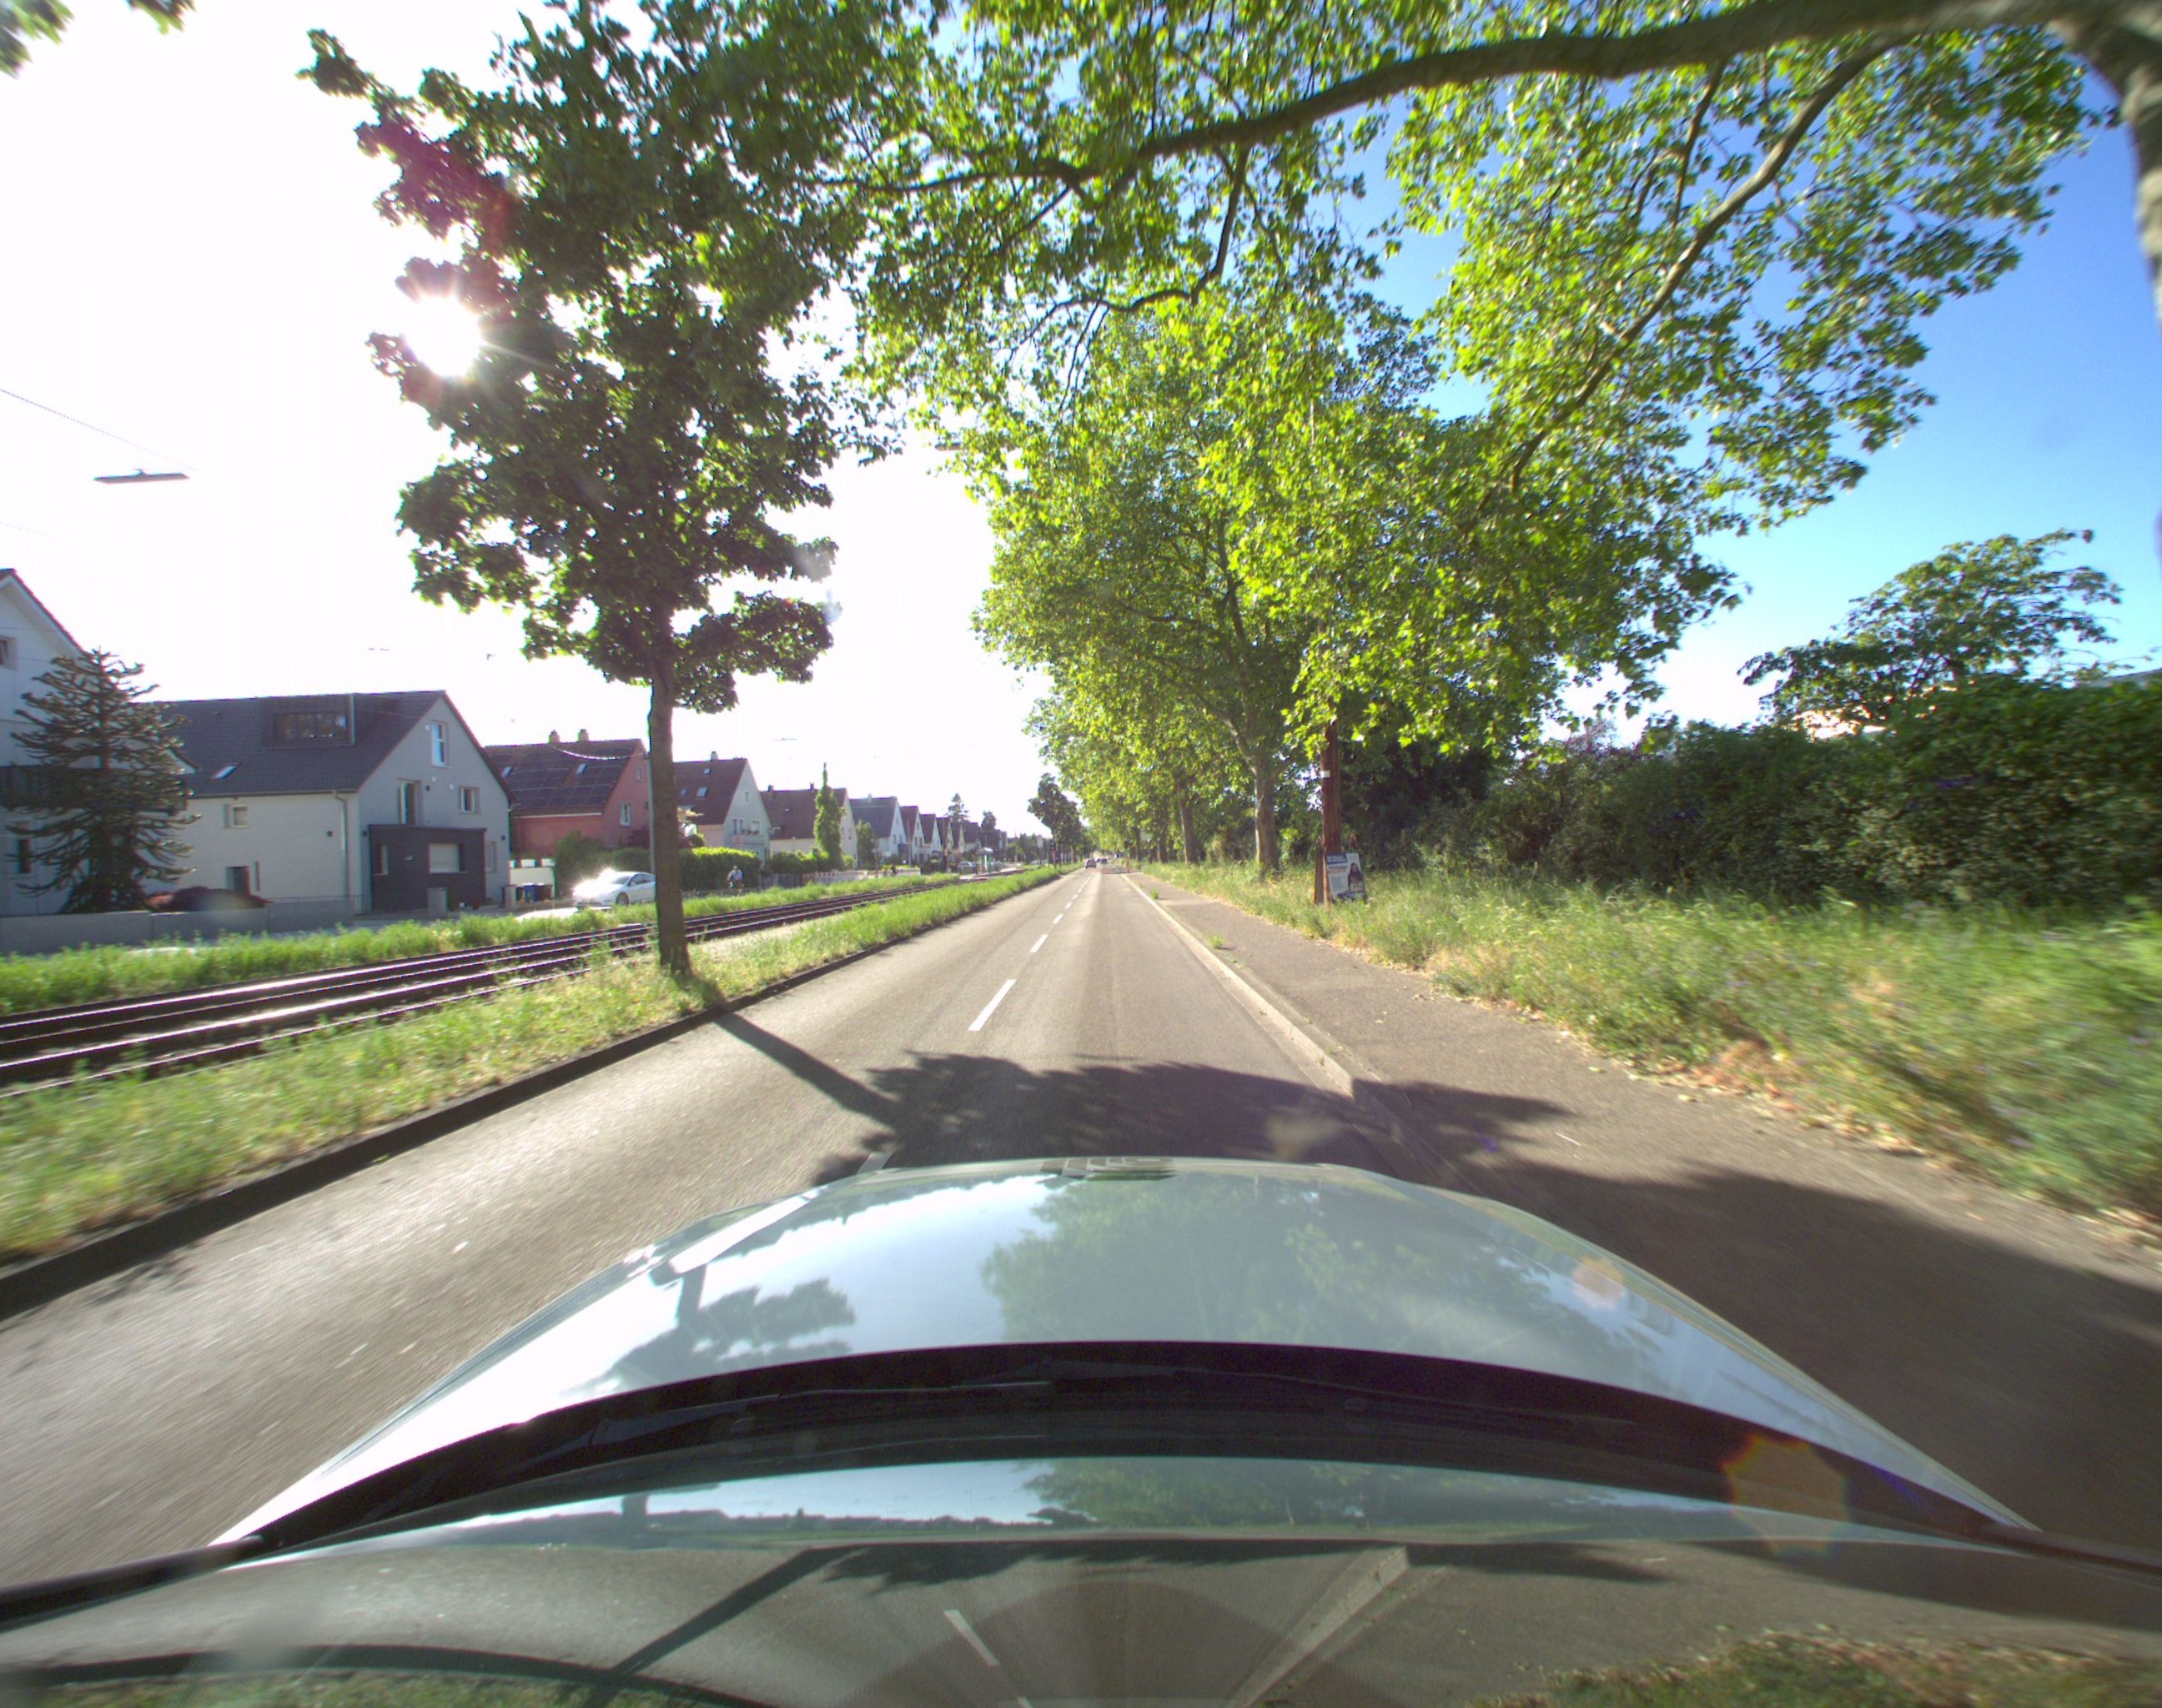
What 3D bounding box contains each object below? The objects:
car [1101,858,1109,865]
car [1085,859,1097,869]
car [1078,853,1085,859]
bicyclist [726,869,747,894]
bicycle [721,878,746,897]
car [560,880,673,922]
[{"bbox_3d":[5.617,1.731,192.160,1.754,1.513,3.278,-1,-1,2],"label":"car"},{"bbox_3d":[1.565,1.475,122.705,1.732,1.401,3.277,-1,-1,1],"label":"car"},{"bbox_3d":[0.210,0.581,209.397,1.521,1.455,3.289,-1,-1,3],"label":"car"},{"bbox_3d":[-17.857,1.414,42.249,0.797,1.278,0.735,-1,-1,-4],"label":"bicyclist"},{"bbox_3d":[-17.893,1.728,41.962,0.440,0.901,2.059,-1,-1,-3],"label":"bicycle"},{"bbox_3d":[-20.560,2.049,36.309,1.984,1.599,4.738,-1,-1,5],"label":"car"}]
